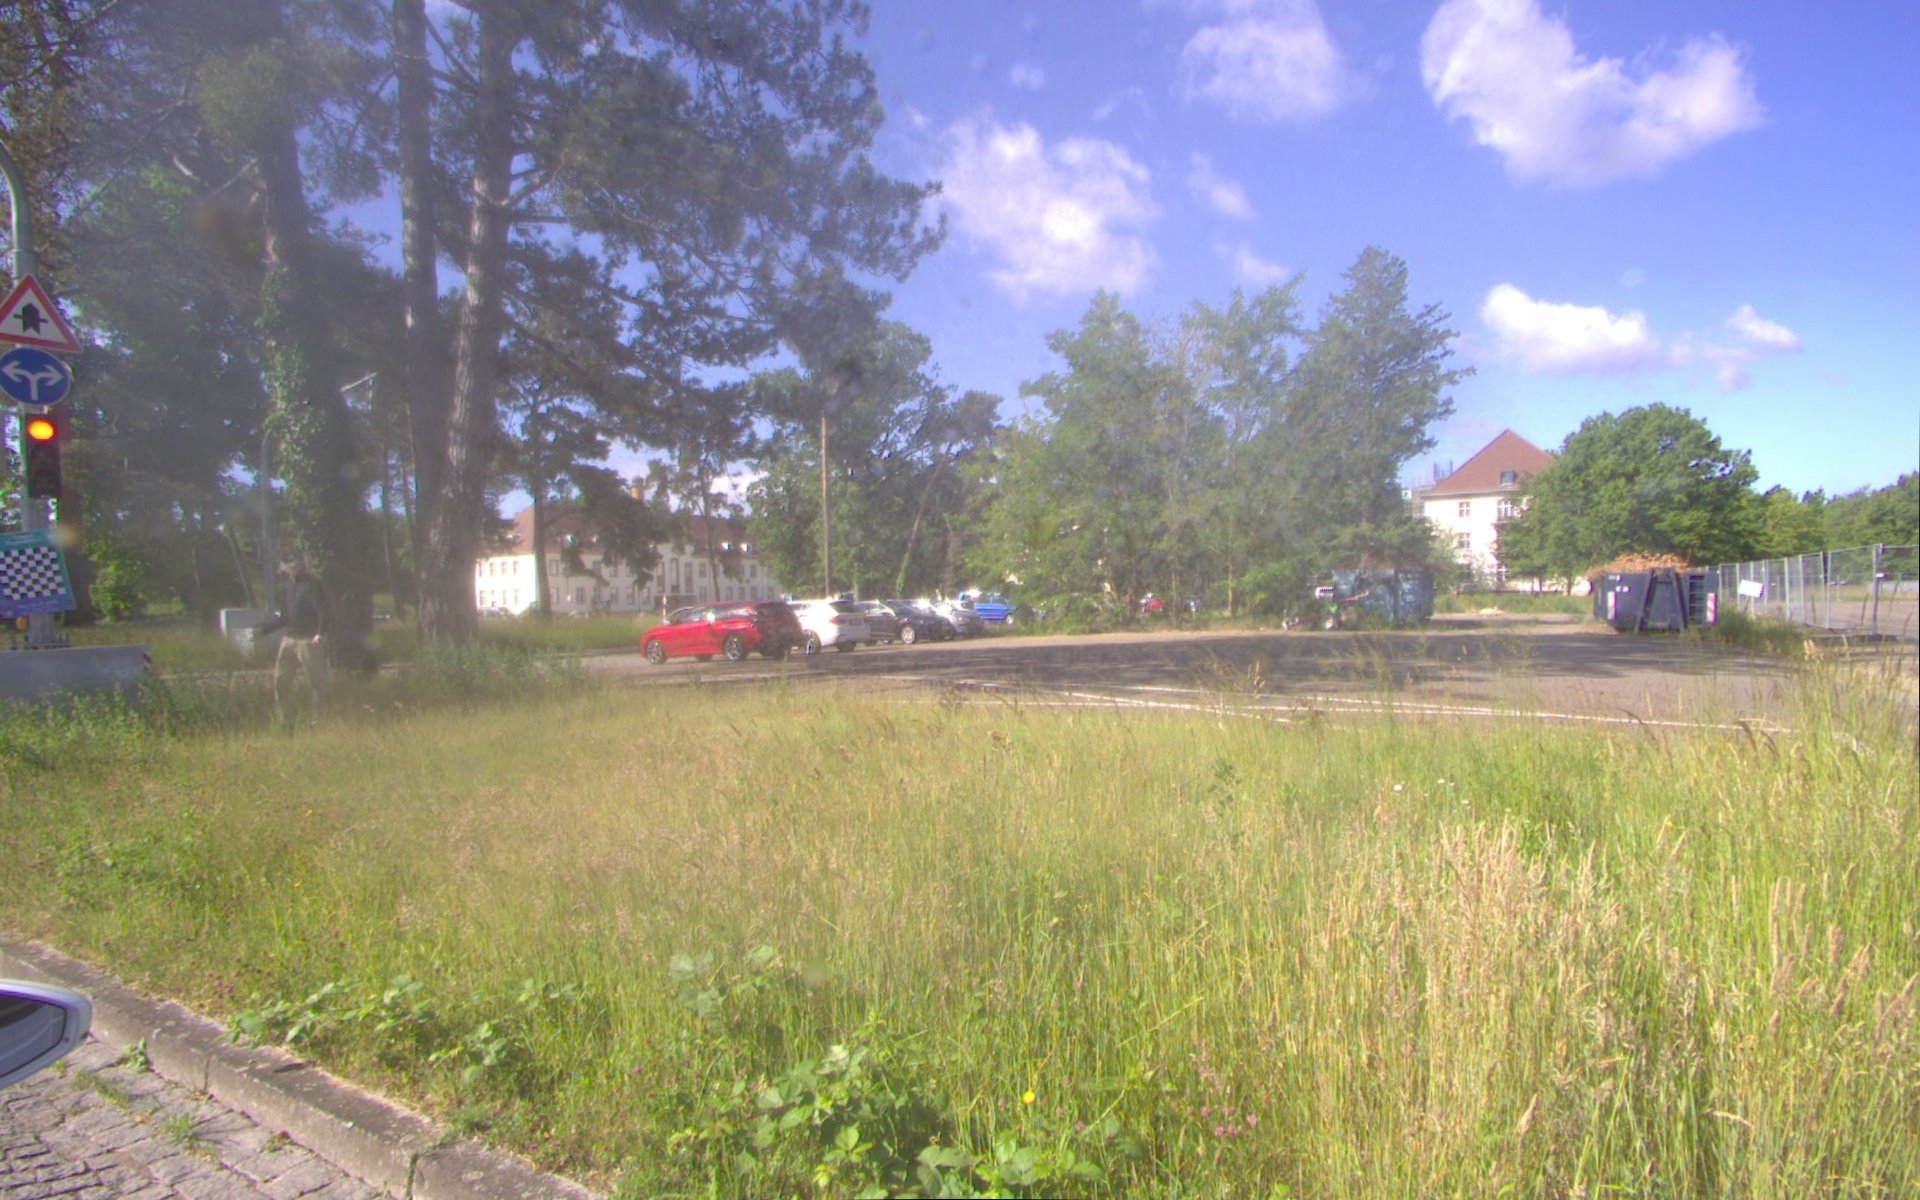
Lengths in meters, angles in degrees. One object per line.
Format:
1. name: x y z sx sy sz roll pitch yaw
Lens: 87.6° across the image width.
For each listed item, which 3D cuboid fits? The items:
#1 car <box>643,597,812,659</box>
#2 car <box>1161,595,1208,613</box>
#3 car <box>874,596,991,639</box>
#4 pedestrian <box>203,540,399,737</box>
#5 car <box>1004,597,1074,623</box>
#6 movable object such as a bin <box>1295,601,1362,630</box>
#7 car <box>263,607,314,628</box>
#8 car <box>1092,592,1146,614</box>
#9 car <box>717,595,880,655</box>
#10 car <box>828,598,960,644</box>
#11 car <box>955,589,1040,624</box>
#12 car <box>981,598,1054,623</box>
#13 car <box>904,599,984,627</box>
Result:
1. car: -5.748 0.710 24.655 4.071 1.417 1.652 -2 -1 32
2. car: 19.635 0.367 87.554 3.681 1.568 1.705 -1 -1 32
3. car: -0.978 0.605 34.479 3.739 1.390 1.720 -1 -1 34
4. pedestrian: -6.448 0.362 9.853 1.150 1.820 1.061 -1 1 13
5. car: 5.057 0.648 64.127 4.180 1.568 1.720 -1 -1 32
6. movable object such as a bin: 10.515 0.434 28.543 1.696 0.762 1.143 -1 0 25
7. car: -53.022 1.373 79.071 4.102 1.603 1.823 -1 1 32
8. car: 11.999 0.262 75.738 3.681 1.568 1.705 -1 -1 32
9. car: -4.417 0.688 27.217 4.179 1.396 1.776 -3 -1 30
10. car: -2.128 0.659 31.784 3.987 1.332 1.612 -1 1 33
11. car: 2.194 0.397 59.201 4.676 1.973 1.982 -1 -1 32
12. car: 3.515 0.646 61.525 4.180 1.443 1.720 -1 -1 32
13. car: -0.894 0.709 55.047 4.180 1.487 1.720 -1 -1 32
